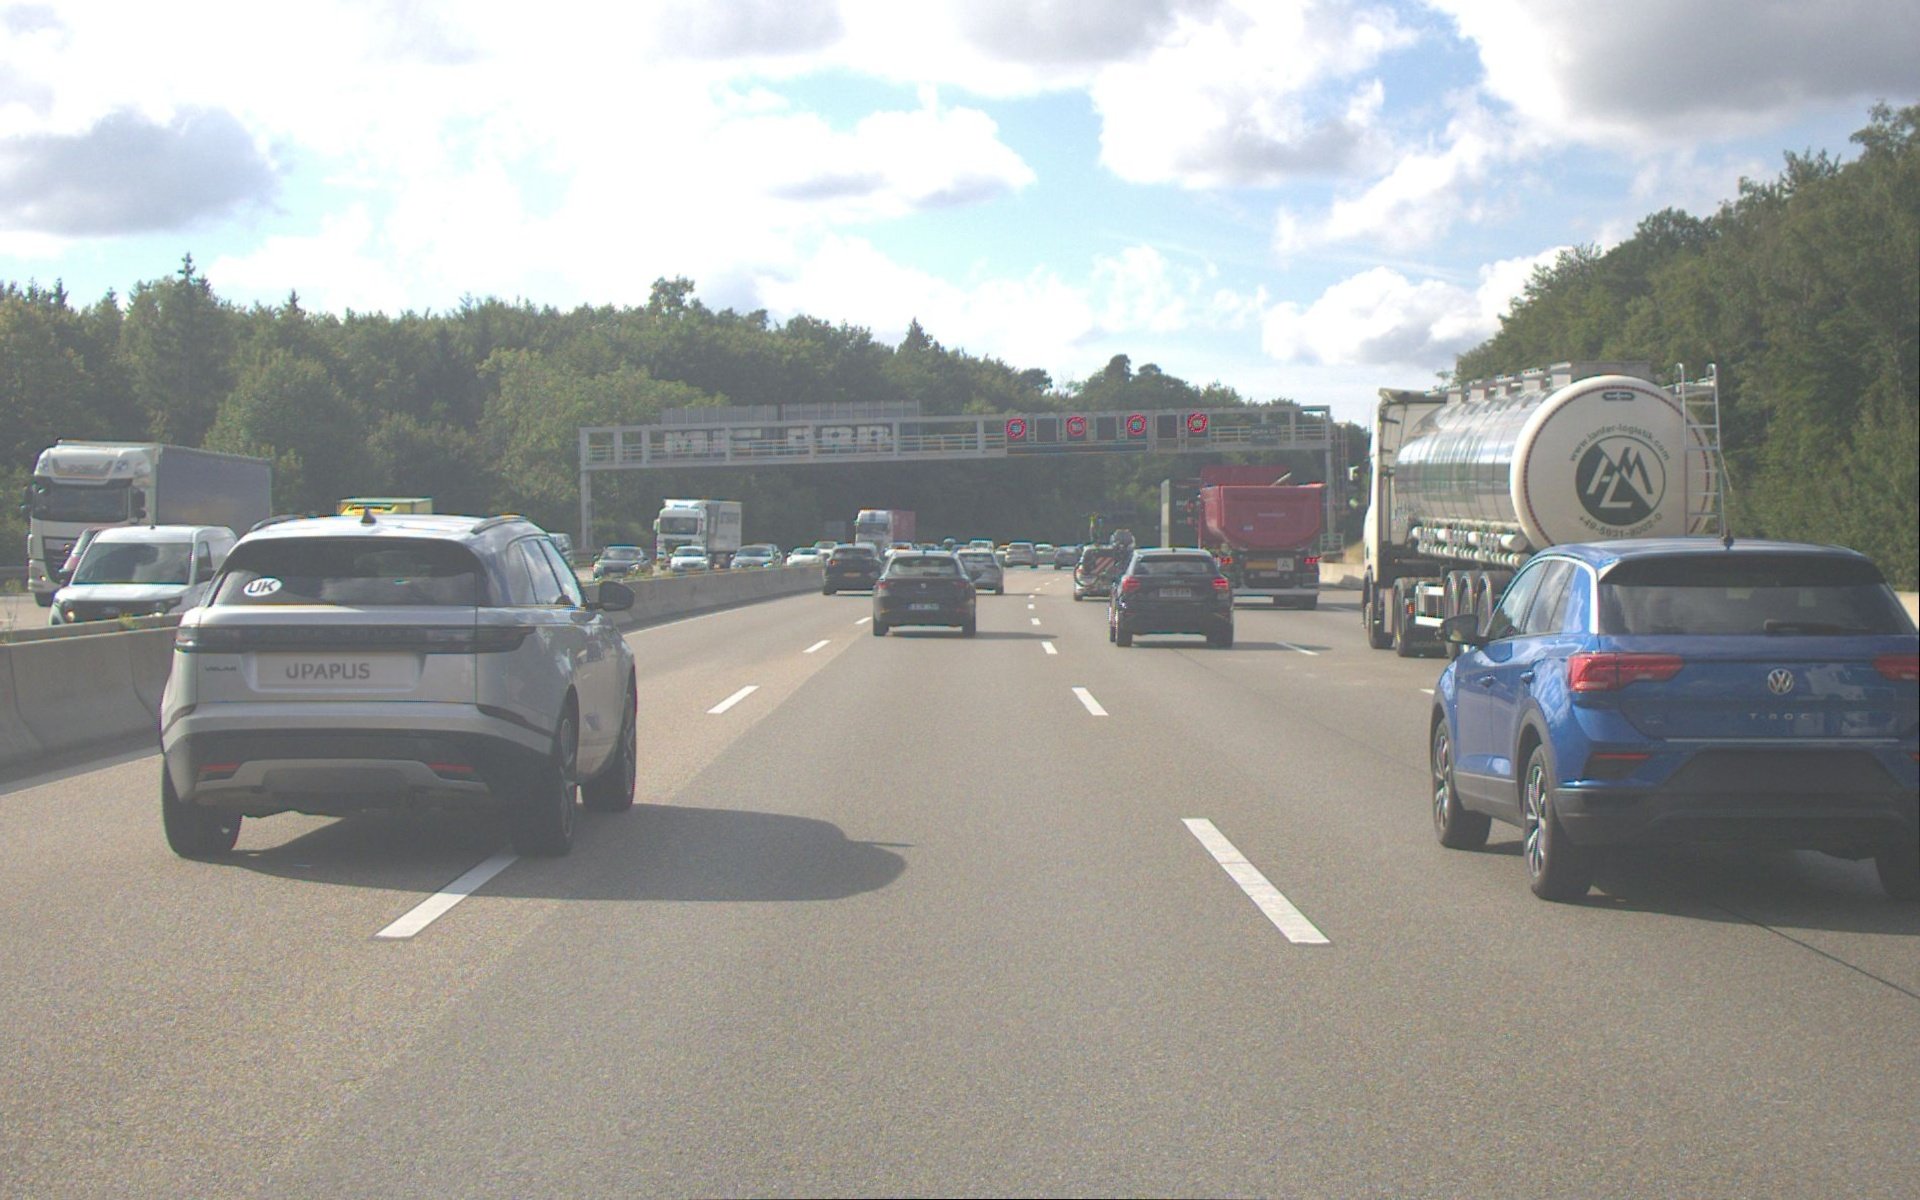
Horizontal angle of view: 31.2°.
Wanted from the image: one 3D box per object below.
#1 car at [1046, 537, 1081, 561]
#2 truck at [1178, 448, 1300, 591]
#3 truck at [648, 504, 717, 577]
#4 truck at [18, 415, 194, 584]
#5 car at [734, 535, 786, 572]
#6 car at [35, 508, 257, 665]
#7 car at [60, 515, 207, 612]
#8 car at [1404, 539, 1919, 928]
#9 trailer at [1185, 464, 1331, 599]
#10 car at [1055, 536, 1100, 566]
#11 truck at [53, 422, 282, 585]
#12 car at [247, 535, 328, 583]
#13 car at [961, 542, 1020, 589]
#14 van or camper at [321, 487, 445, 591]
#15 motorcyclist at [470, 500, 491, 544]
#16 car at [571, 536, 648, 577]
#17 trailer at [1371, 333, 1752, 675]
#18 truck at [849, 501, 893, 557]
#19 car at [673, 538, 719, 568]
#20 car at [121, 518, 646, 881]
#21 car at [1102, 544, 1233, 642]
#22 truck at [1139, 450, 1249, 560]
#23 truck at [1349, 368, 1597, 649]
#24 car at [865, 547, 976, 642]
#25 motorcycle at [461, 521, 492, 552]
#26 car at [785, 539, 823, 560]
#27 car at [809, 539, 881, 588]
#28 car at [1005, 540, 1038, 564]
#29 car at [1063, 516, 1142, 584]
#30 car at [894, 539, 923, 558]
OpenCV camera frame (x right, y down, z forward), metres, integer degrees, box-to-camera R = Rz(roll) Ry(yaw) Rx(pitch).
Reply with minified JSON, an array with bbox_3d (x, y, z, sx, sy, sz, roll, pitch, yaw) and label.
[{"bbox_3d":[6.466,-3.190,214.524,2.077,1.452,4.000,-1,1,2],"label":"car"},{"bbox_3d":[7.452,-2.168,92.533,2.710,3.706,5.818,0,1,-1],"label":"truck"},{"bbox_3d":[-15.828,-3.412,196.676,3.318,4.092,6.225,0,1,1],"label":"truck"},{"bbox_3d":[-21.270,-2.475,85.915,2.819,4.080,6.062,0,1,1],"label":"truck"},{"bbox_3d":[-8.373,-1.970,144.267,1.863,1.546,4.662,0,1,0],"label":"car"},{"bbox_3d":[-10.407,-0.209,44.267,1.849,1.872,4.616,-1,1,-2],"label":"car"},{"bbox_3d":[-17.113,-0.780,71.415,1.847,1.934,5.034,0,1,0],"label":"car"},{"bbox_3d":[3.256,0.494,15.919,1.773,1.525,4.458,1,1,0],"label":"car"},{"bbox_3d":[7.490,-1.783,87.611,2.710,3.220,9.733,0,2,-1],"label":"trailer"},{"bbox_3d":[5.978,-2.504,175.207,1.942,1.452,4.001,-1,1,-2],"label":"car"},{"bbox_3d":[-21.180,-2.540,92.873,2.819,4.080,13.845,0,1,1],"label":"truck"},{"bbox_3d":[-21.206,-1.303,108.481,1.697,1.465,4.022,0,1,1],"label":"car"},{"bbox_3d":[0.961,-1.101,109.117,1.822,1.452,4.000,0,1,0],"label":"car"},{"bbox_3d":[-16.704,-1.778,99.875,2.374,2.882,6.506,-1,1,1],"label":"van or camper"},{"bbox_3d":[-15.997,-2.599,114.649,0.602,1.471,0.532,1,0,2],"label":"motorcyclist"},{"bbox_3d":[-12.878,-1.614,126.422,2.171,1.465,4.786,0,1,2],"label":"car"},{"bbox_3d":[7.360,-1.173,43.936,2.649,3.754,11.861,-1,1,-1],"label":"trailer"},{"bbox_3d":[-6.659,-5.319,257.740,2.739,4.092,5.764,0,1,4],"label":"truck"},{"bbox_3d":[-12.328,-2.197,160.781,1.769,1.389,4.691,0,1,0],"label":"car"},{"bbox_3d":[-2.822,0.397,18.056,2.006,1.611,5.301,1,1,-2],"label":"car"},{"bbox_3d":[3.177,-0.134,53.247,1.822,1.452,4.000,0,1,1],"label":"car"},{"bbox_3d":[8.609,-3.475,127.919,3.118,3.921,10.412,0,1,-1],"label":"truck"},{"bbox_3d":[7.340,-1.306,49.919,2.649,3.810,6.082,-1,1,0],"label":"truck"},{"bbox_3d":[-0.648,-0.120,58.715,1.822,1.541,4.000,0,1,0],"label":"car"},{"bbox_3d":[-16.032,-2.107,114.032,0.610,1.036,2.175,0,1,2],"label":"motorcycle"},{"bbox_3d":[-8.743,-2.853,193.096,1.811,1.157,4.515,0,1,2],"label":"car"},{"bbox_3d":[-3.541,-1.149,106.716,1.942,1.452,4.000,-1,1,2],"label":"car"},{"bbox_3d":[4.025,-3.151,225.400,2.077,1.452,4.000,-1,1,1],"label":"car"},{"bbox_3d":[3.974,-1.418,96.345,1.893,1.850,4.101,1,1,-2],"label":"car"},{"bbox_3d":[-3.626,-3.653,243.357,1.811,1.298,4.046,0,1,3],"label":"car"}]
